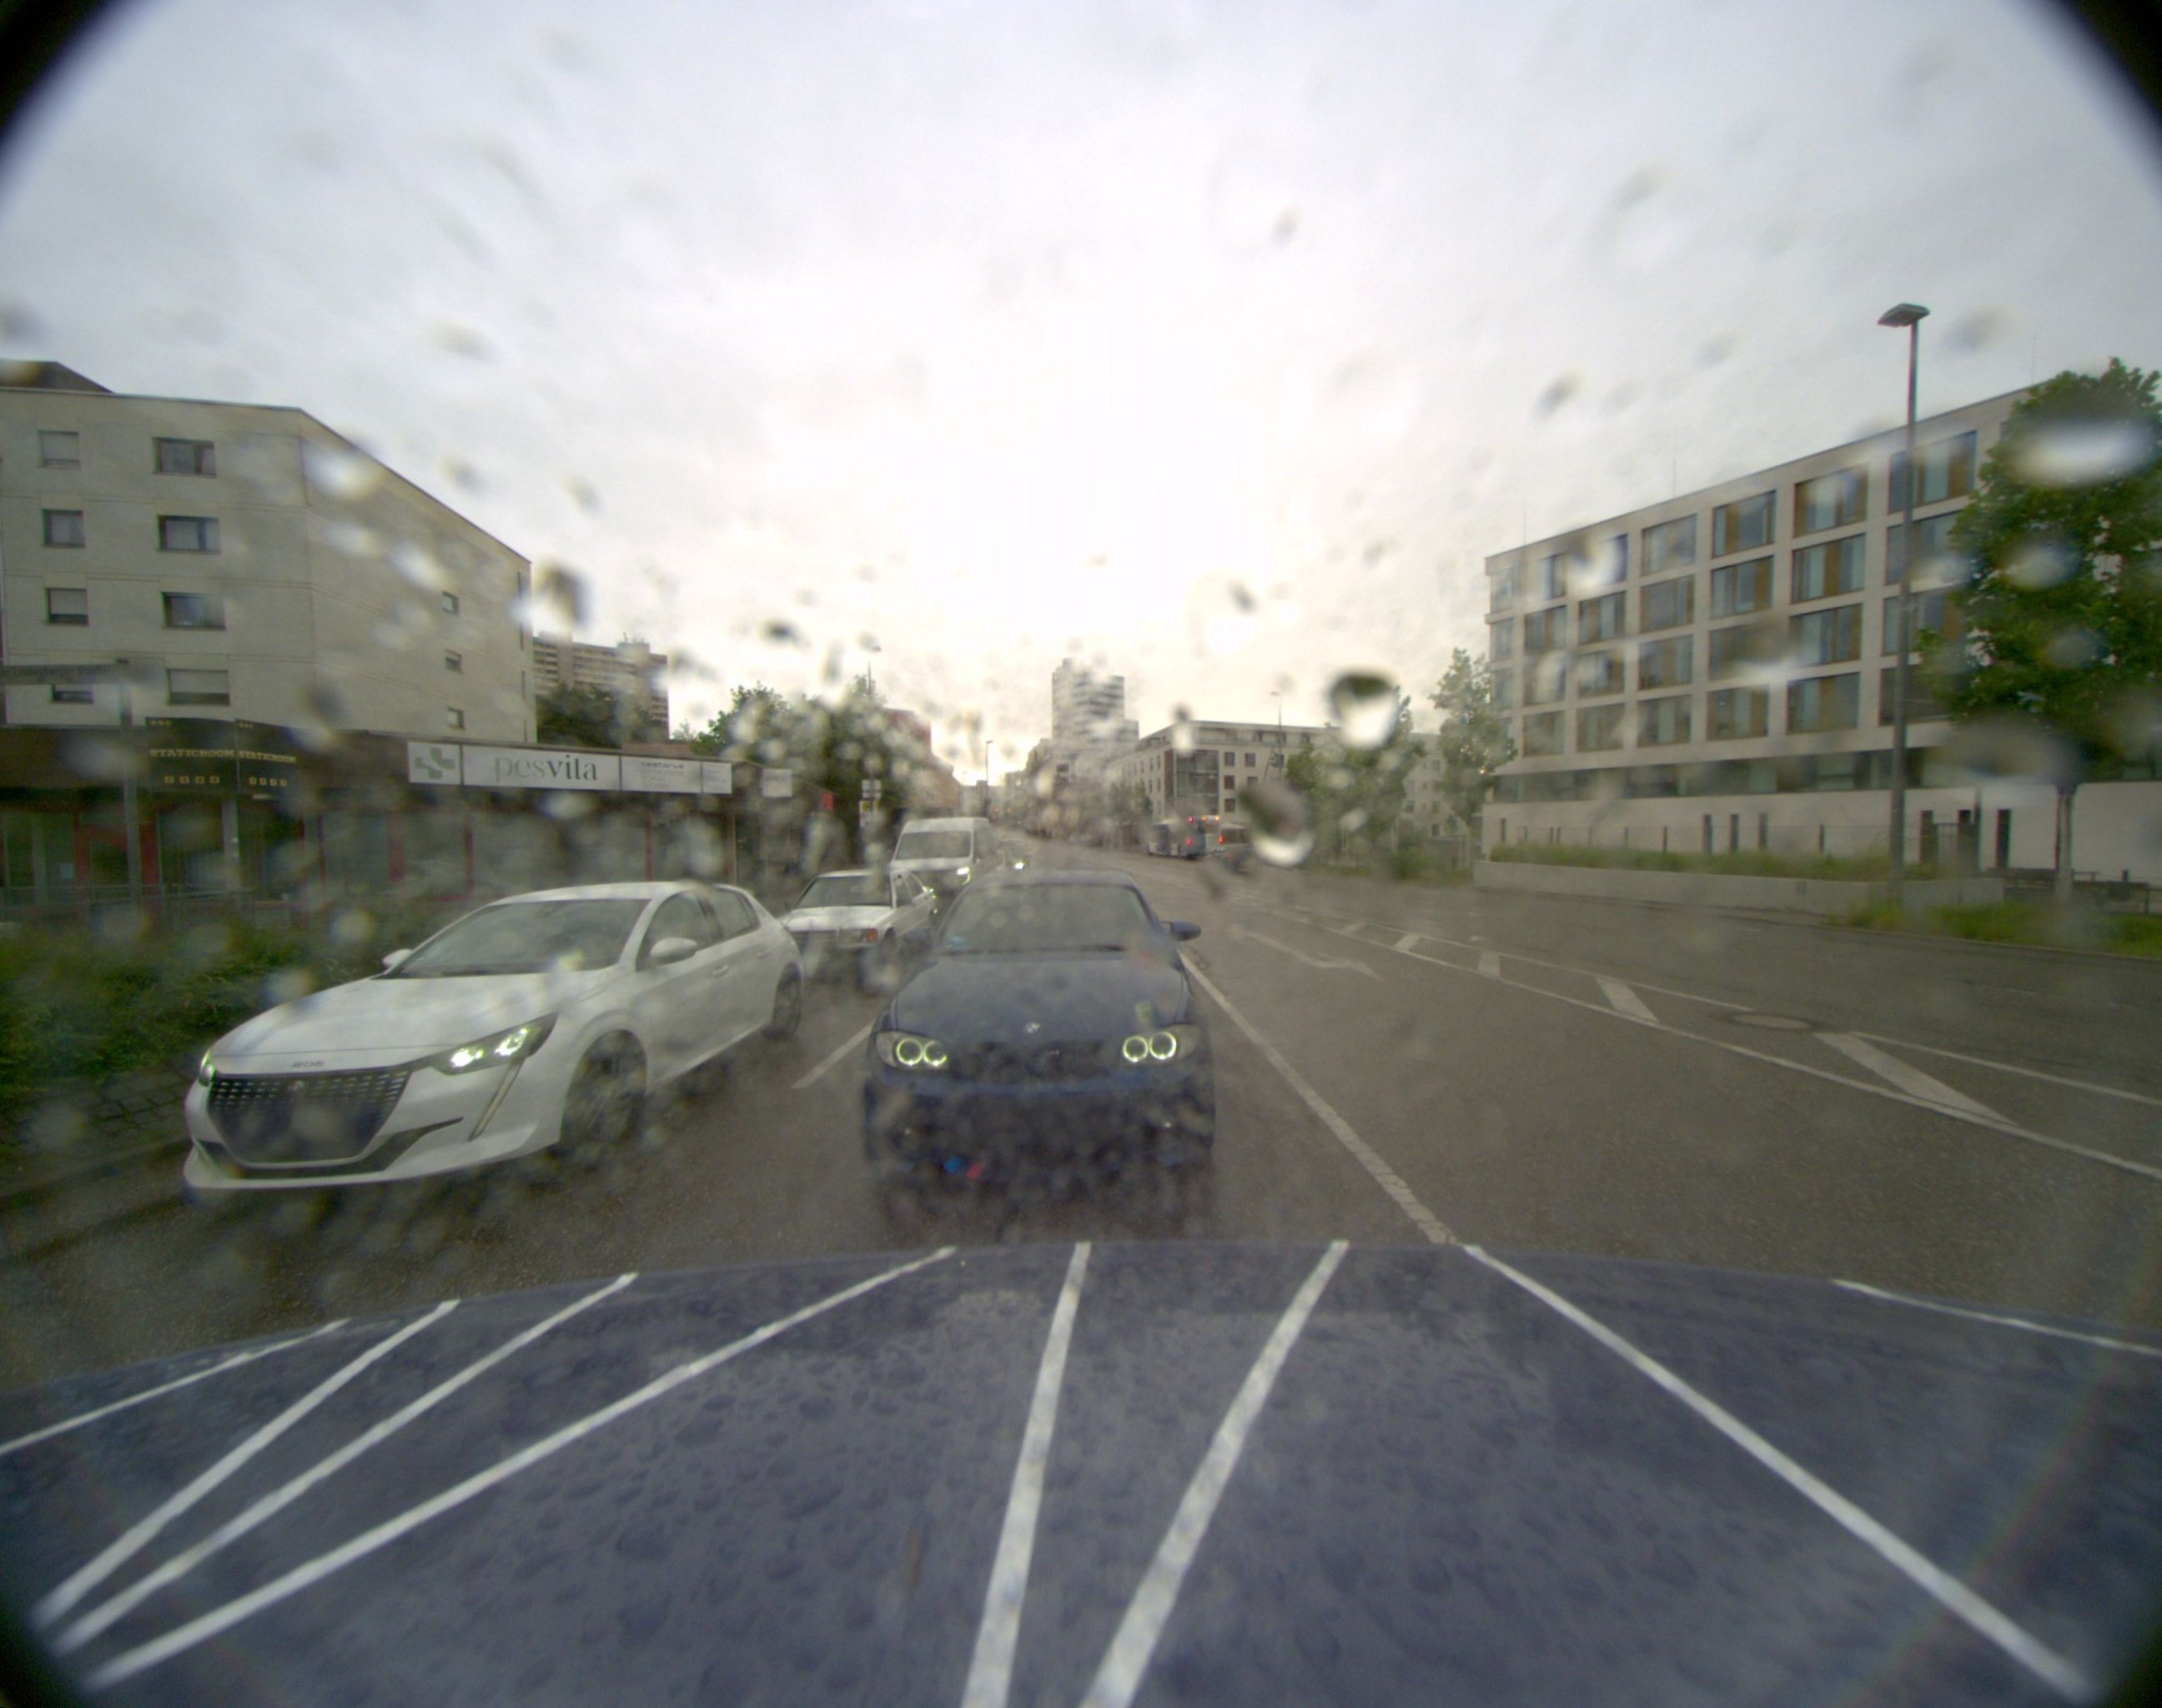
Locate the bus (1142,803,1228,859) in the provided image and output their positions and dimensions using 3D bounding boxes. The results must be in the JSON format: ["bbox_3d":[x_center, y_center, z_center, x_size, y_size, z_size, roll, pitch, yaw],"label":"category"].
[{"bbox_3d":[8.187,-1.710,63.323,2.952,3.972,18.217,1,1,-5],"label":"bus"}]

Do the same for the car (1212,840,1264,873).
[{"bbox_3d":[7.697,0.092,37.597,1.818,1.420,3.942,-2,2,2],"label":"car"}]

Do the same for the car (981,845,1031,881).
[{"bbox_3d":[-3.411,0.411,35.081,1.999,1.542,4.000,-1,-1,-2],"label":"car"}]

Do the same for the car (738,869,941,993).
[{"bbox_3d":[-3.329,0.989,11.270,1.718,1.369,3.734,-2,0,1],"label":"car"}]

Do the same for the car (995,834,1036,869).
[{"bbox_3d":[-3.901,-0.163,45.831,1.998,2.002,4.000,1,1,1],"label":"car"}]

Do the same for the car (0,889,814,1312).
[{"bbox_3d":[-3.393,1.072,5.017,1.718,1.389,4.035,-2,0,1],"label":"car"}]

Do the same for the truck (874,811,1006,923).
[{"bbox_3d":[-3.425,0.276,19.878,2.169,2.425,6.199,-1,0,1],"label":"truck"}]

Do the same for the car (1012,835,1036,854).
[{"bbox_3d":[-5.254,-0.860,69.907,1.999,1.542,4.000,-1,-1,-2],"label":"car"}]

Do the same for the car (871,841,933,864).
[{"bbox_3d":[-12.506,-0.135,53.250,4.000,1.412,1.998,-2,1,-9],"label":"car"}]

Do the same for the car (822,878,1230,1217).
[{"bbox_3d":[-0.221,0.924,5.246,1.787,1.335,3.704,-2,0,1],"label":"car"}]

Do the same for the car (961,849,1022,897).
[{"bbox_3d":[-3.222,0.650,28.011,1.643,1.477,3.676,-6,0,1],"label":"car"}]

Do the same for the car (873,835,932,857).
[{"bbox_3d":[-12.933,-0.610,55.275,4.000,1.412,1.701,-2,1,-9],"label":"car"}]

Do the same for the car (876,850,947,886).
[{"bbox_3d":[-6.908,0.521,31.329,1.998,1.343,3.803,1,1,1],"label":"car"}]
